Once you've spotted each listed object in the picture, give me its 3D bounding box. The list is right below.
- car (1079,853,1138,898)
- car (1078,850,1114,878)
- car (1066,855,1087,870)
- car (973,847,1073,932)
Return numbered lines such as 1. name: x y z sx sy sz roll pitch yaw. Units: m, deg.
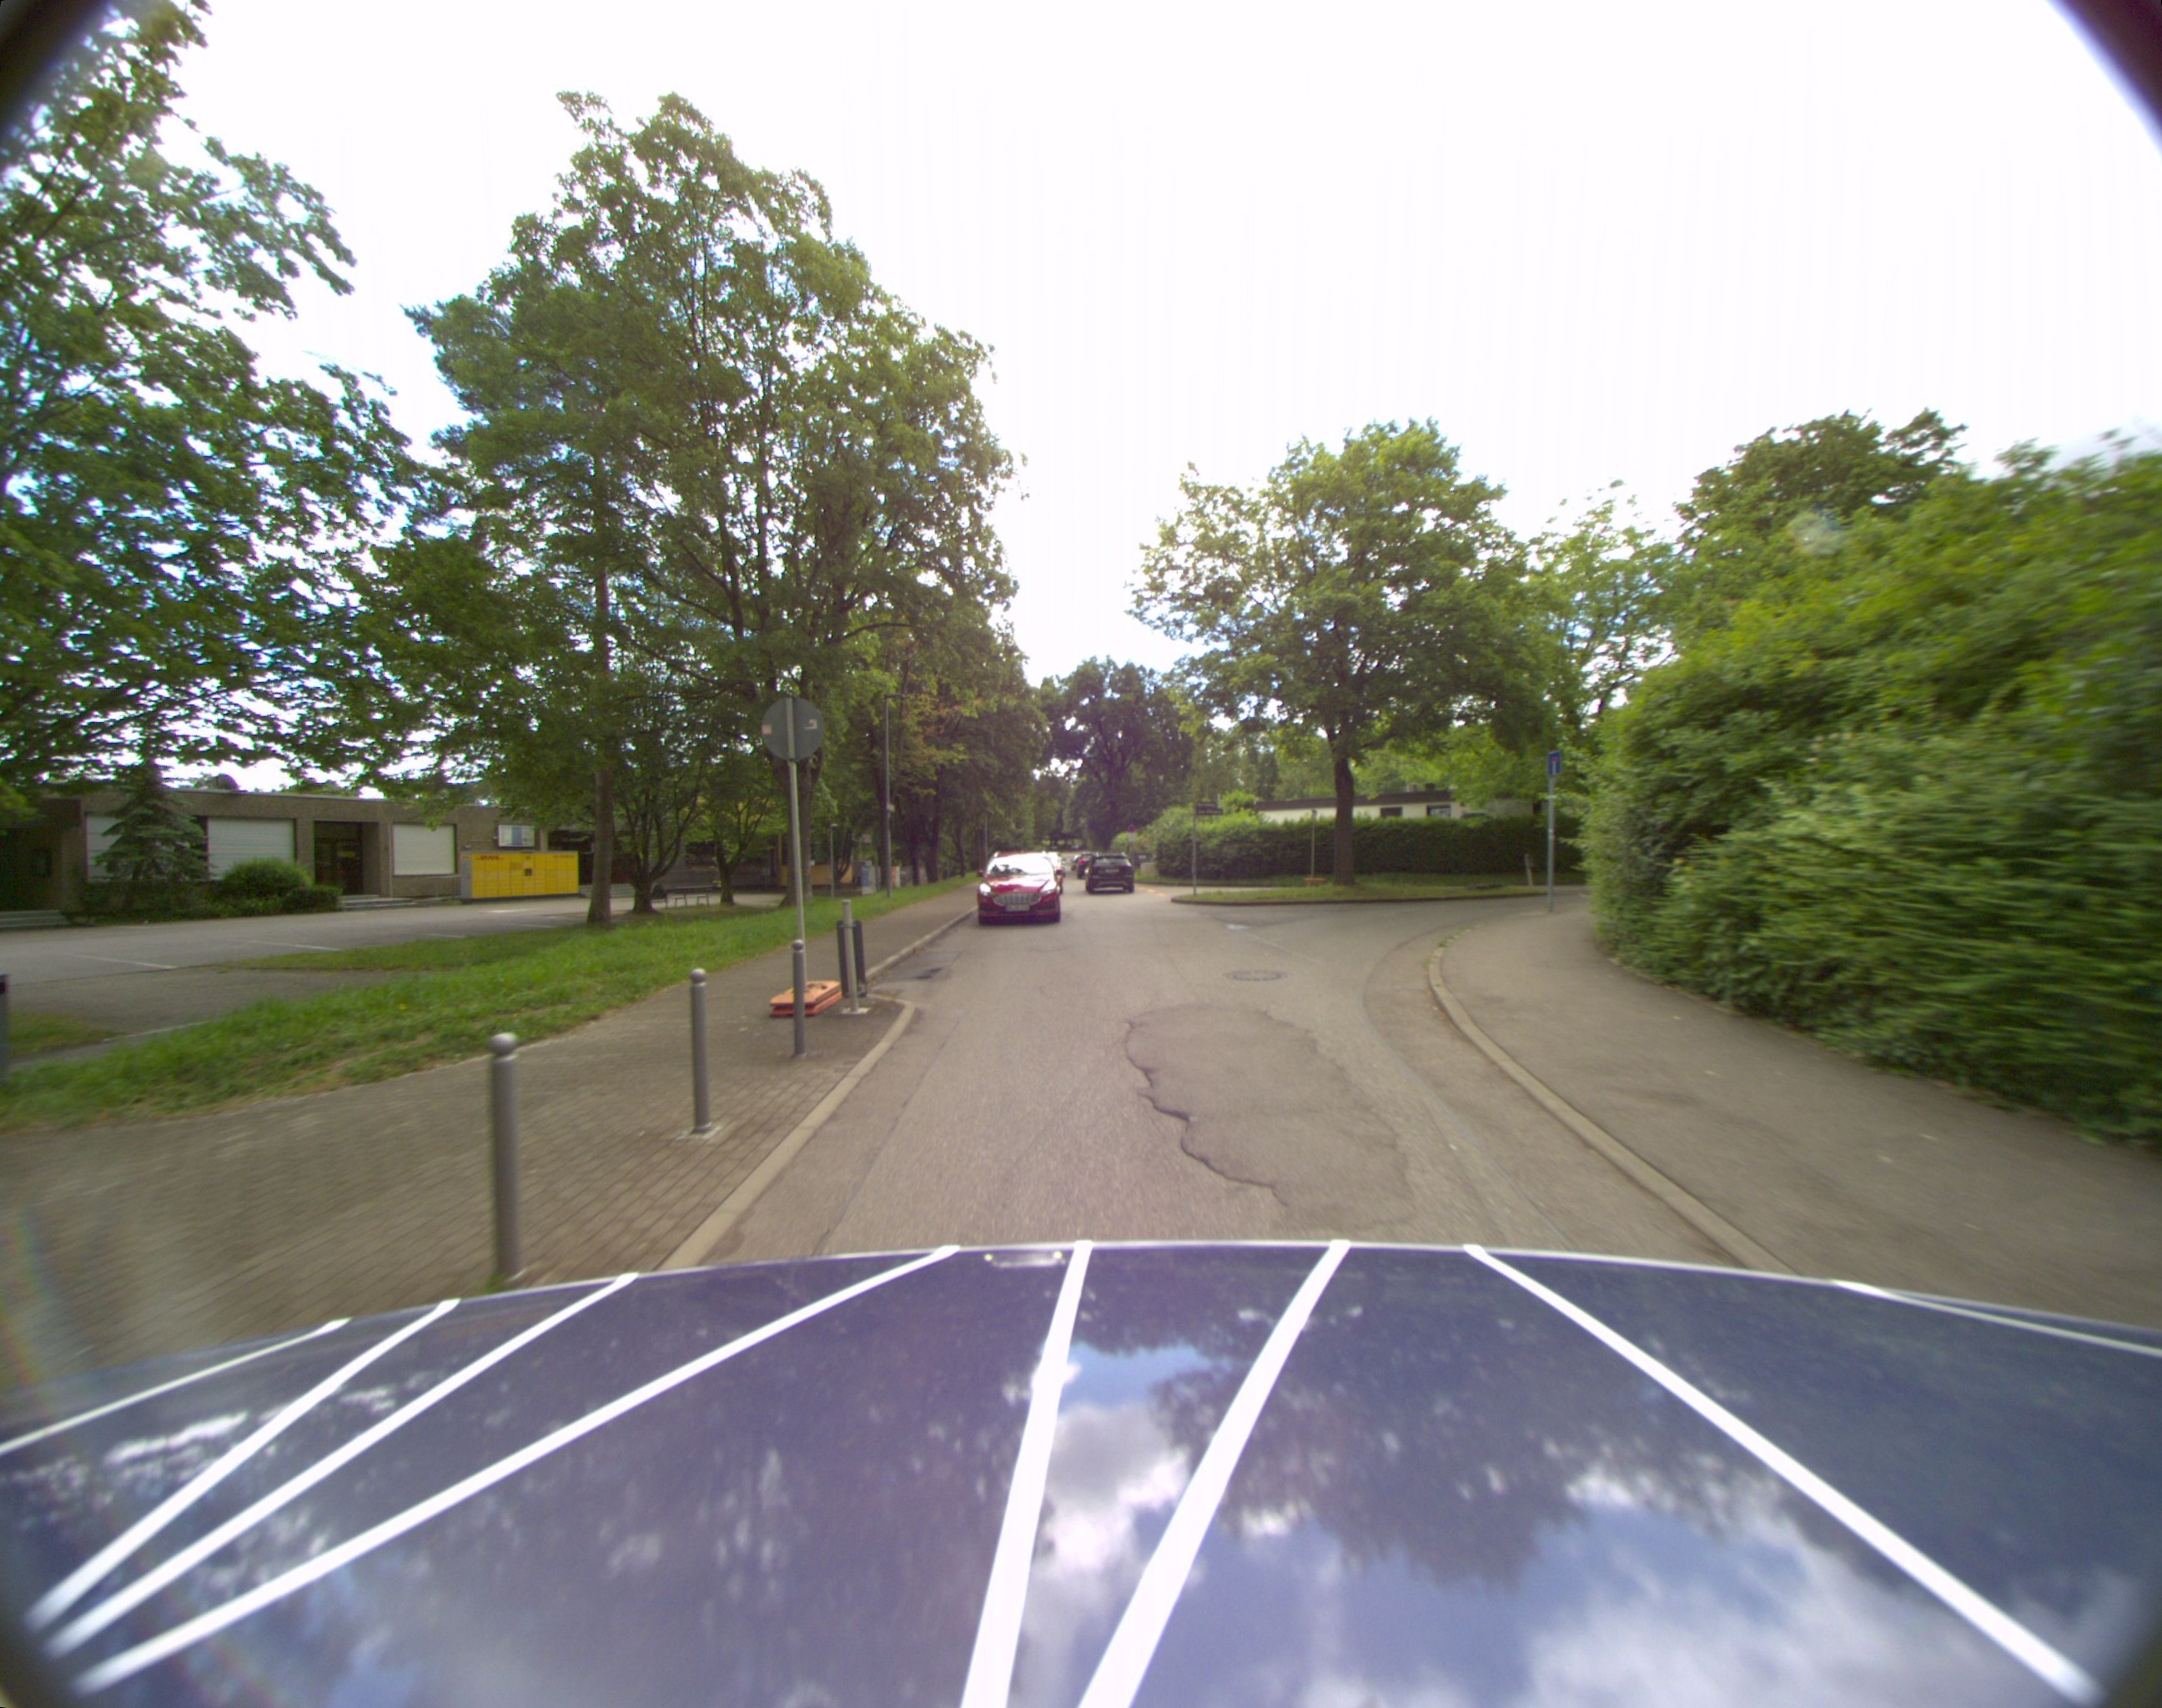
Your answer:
1. car: 0.997 0.788 30.010 1.808 1.582 4.294 -2 0 -5
2. car: 0.861 0.564 45.785 1.808 1.582 4.294 -2 0 -4
3. car: -0.348 0.779 69.219 1.785 1.299 4.296 -2 0 1
4. car: -1.273 0.748 18.318 1.816 1.718 4.000 1 2 4
